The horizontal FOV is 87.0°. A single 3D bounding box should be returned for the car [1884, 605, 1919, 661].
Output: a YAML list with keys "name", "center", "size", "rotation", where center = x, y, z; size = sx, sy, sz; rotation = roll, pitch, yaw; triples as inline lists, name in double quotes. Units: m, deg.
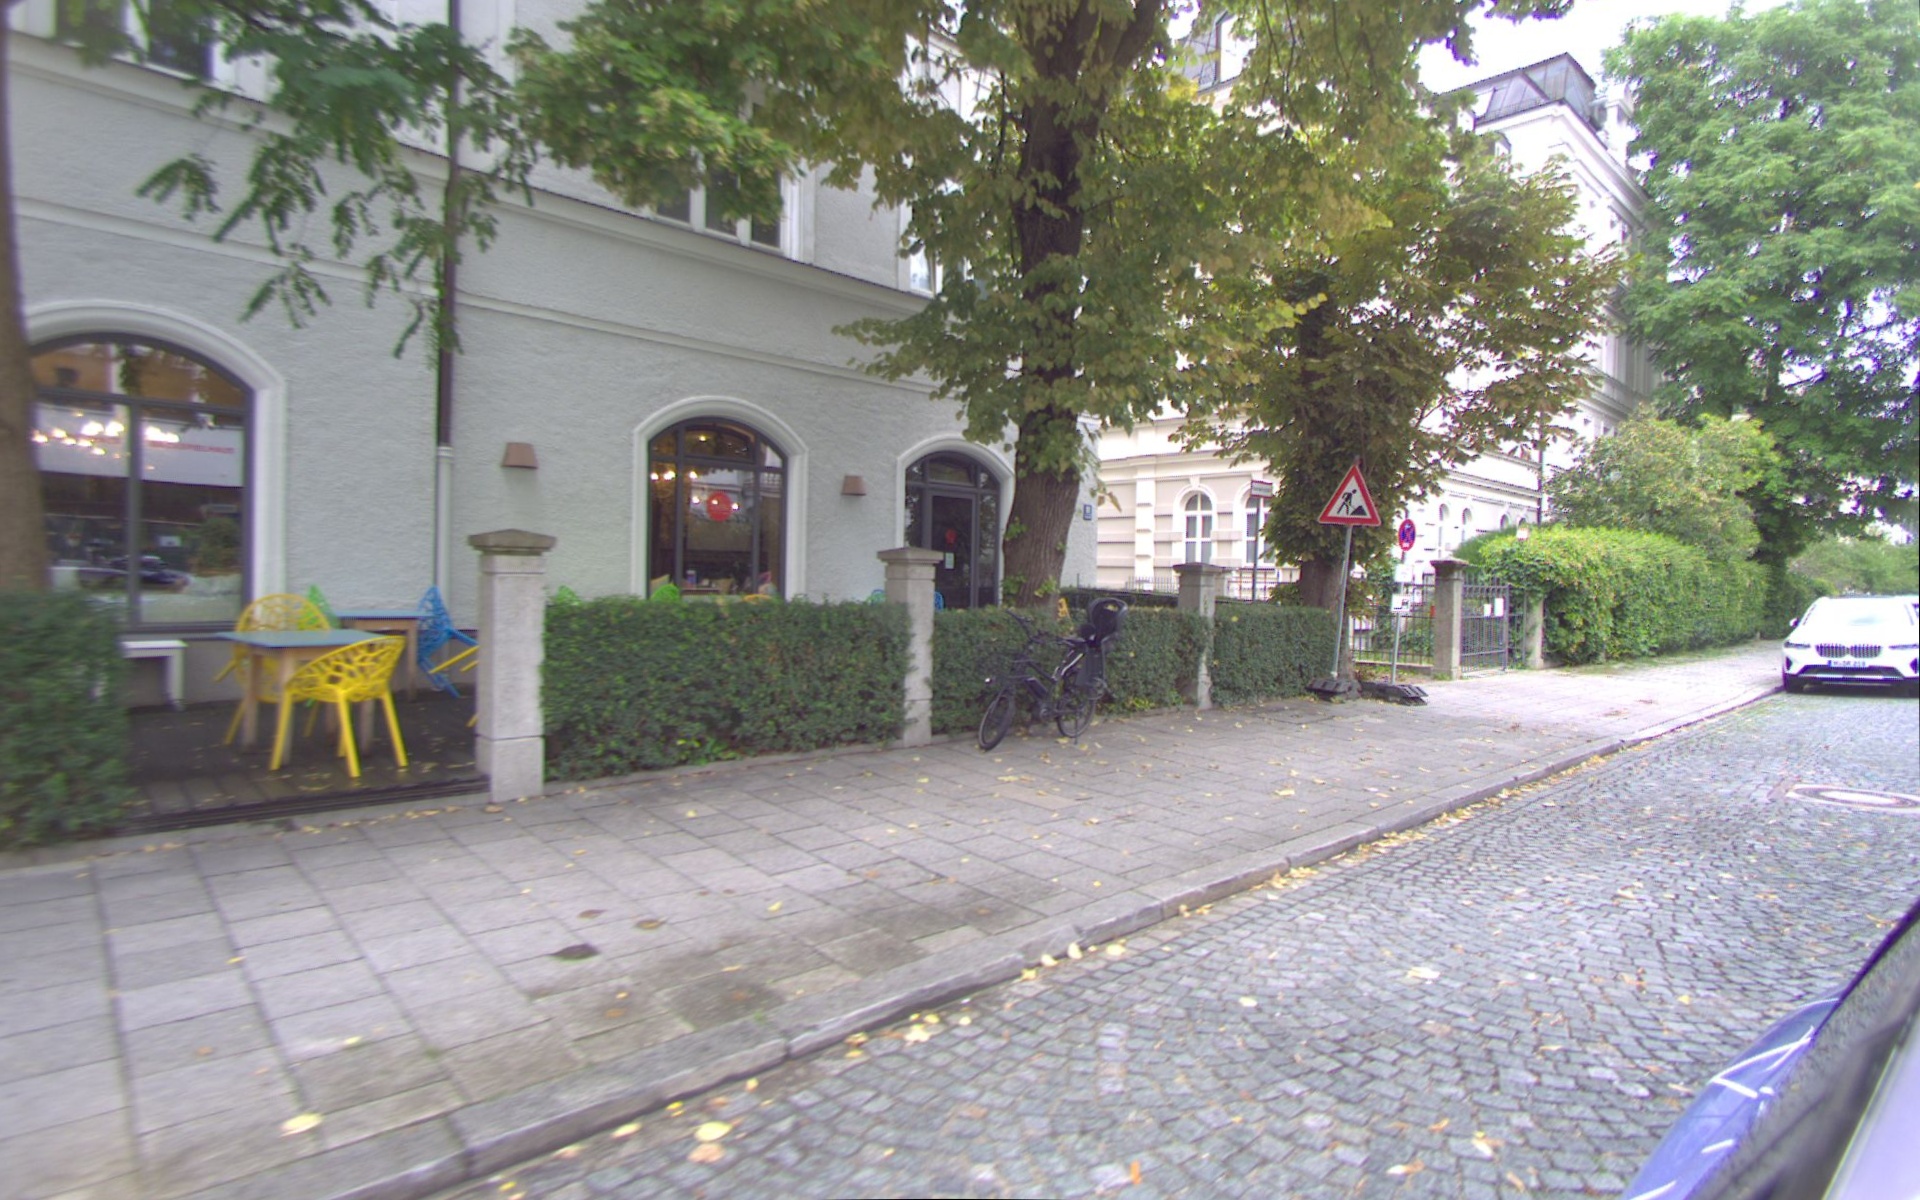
- name: "car"
  center: [25.044, 0.811, 25.799]
  size: [4.729, 1.314, 1.920]
  rotation: [0, 1, -44]

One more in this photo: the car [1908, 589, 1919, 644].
- name: "car"
  center: [37.352, 0.613, 38.218]
  size: [3.933, 2.039, 1.996]
  rotation: [0, 1, -43]

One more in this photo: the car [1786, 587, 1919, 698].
- name: "car"
  center: [16.308, 0.646, 17.967]
  size: [4.556, 1.706, 1.923]
  rotation: [-1, 2, -43]

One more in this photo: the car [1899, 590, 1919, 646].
- name: "car"
  center: [33.720, 0.565, 34.774]
  size: [4.730, 1.843, 1.814]
  rotation: [0, -3, -45]

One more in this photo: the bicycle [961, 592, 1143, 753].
- name: "bicycle"
  center: [0.811, 0.556, 8.582]
  size: [1.701, 1.212, 0.428]
  rotation: [0, 6, -43]

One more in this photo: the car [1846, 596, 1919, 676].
- name: "car"
  center: [21.112, 0.741, 22.535]
  size: [4.398, 1.620, 1.749]
  rotation: [0, 1, -44]
